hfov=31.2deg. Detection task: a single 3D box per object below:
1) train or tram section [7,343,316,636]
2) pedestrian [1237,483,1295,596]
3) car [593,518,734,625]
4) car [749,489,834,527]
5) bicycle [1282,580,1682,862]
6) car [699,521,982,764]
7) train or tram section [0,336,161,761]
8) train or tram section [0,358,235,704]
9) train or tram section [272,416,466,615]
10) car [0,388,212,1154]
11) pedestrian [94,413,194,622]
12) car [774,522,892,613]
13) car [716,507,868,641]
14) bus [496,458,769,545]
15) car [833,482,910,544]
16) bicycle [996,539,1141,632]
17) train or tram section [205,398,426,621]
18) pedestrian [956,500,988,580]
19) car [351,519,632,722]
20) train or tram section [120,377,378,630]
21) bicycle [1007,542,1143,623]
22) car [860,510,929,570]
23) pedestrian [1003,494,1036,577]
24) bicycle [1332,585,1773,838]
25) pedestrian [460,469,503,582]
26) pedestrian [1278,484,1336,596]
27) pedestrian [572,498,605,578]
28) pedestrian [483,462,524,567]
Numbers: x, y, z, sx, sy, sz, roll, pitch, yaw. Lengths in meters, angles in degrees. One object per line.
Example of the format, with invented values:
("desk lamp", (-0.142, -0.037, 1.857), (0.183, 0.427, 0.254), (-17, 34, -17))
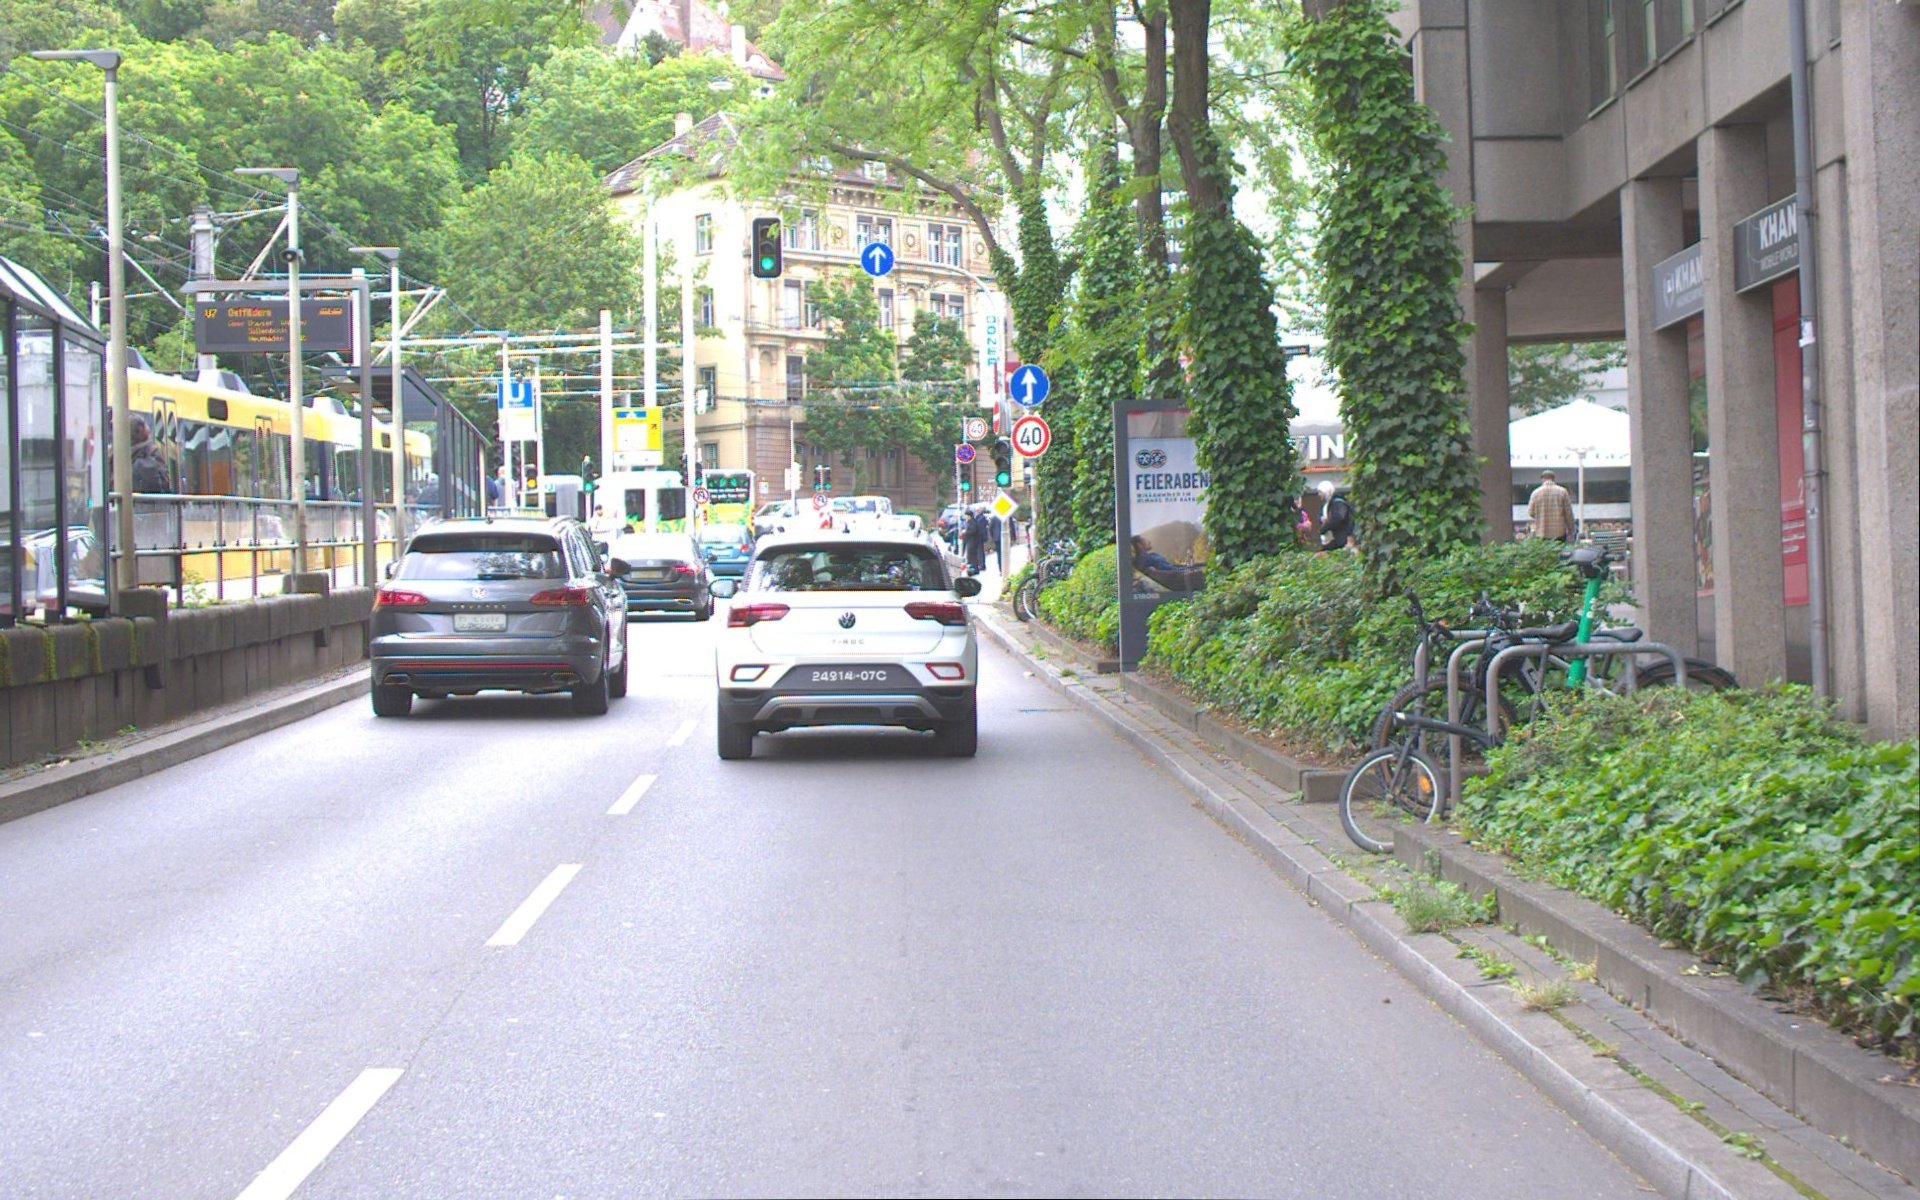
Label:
("train or tram section", (-10.638, -1.419, 46.444), (2.813, 3.654, 6.752), (0, 1, -2))
("pedestrian", (4.407, -0.862, 49.466), (0.635, 1.610, 0.588), (0, -1, -21))
("car", (-4.847, -0.498, 56.723), (1.912, 1.683, 4.000), (1, 1, 1))
("car", (-7.659, -4.169, 156.415), (1.915, 1.683, 3.993), (1, 2, 33))
("bicycle", (2.265, 0.518, 15.045), (1.620, 1.124, 0.613), (-3, 0, 3))
("car", (-0.824, 0.262, 24.605), (1.837, 1.578, 4.157), (0, 0, -1))
("train or tram section", (-9.688, -0.476, 32.347), (2.813, 3.654, 6.751), (0, 1, -1))
("train or tram section", (-10.383, -0.766, 39.684), (2.813, 3.654, 6.752), (0, 1, -2))
("train or tram section", (-11.381, -1.594, 66.745), (2.813, 3.654, 6.752), (0, 1, -2))
("car", (-3.702, 0.444, 8.829), (2.365, 2.007, 5.148), (0, 0, 1))
("pedestrian", (-7.002, -0.708, 29.535), (0.627, 1.756, 0.847), (-1, 1, -1))
("car", (-2.496, -0.600, 66.592), (1.884, 1.678, 4.162), (0, 0, -8))
("car", (-2.154, -0.310, 45.119), (1.884, 1.678, 4.161), (0, 0, -1))
("bus", (-13.107, -3.823, 136.117), (3.373, 3.054, 13.317), (1, -1, -43))
("car", (-3.065, -3.010, 120.057), (2.365, 2.007, 5.147), (0, 0, 2))
("bicycle", (1.487, -0.195, 47.011), (1.881, 1.262, 0.764), (0, -1, 10))
("train or tram section", (-11.134, -1.528, 59.975), (2.813, 3.654, 6.752), (0, 1, -2))
("pedestrian", (0.312, -1.523, 87.531), (0.762, 2.007, 0.838), (0, -1, 4))
("car", (-3.981, 0.121, 29.834), (1.993, 1.630, 4.001), (0, 1, -2))
("train or tram section", (-10.877, -1.431, 53.218), (2.813, 3.654, 6.752), (0, 1, -2))
("bicycle", (1.631, -0.243, 48.505), (1.881, 1.133, 0.808), (0, 0, 5))
("car", (-1.937, -1.763, 102.301), (1.885, 1.678, 4.161), (0, 0, 1))
("pedestrian", (1.464, -1.573, 84.163), (0.762, 2.007, 0.838), (0, -1, 4))
("bicycle", (2.788, 0.514, 16.270), (1.915, 1.073, 0.613), (-3, 0, -3))
("pedestrian", (-8.675, -1.345, 62.349), (0.762, 2.007, 0.838), (0, -1, -8))
("pedestrian", (5.020, -0.861, 49.705), (0.635, 1.603, 0.588), (0, -1, -21))
("pedestrian", (-9.526, -1.584, 88.146), (0.762, 2.007, 0.838), (0, -1, 0))
("pedestrian", (-8.846, -1.648, 66.581), (0.762, 2.007, 0.838), (0, -1, -8))
